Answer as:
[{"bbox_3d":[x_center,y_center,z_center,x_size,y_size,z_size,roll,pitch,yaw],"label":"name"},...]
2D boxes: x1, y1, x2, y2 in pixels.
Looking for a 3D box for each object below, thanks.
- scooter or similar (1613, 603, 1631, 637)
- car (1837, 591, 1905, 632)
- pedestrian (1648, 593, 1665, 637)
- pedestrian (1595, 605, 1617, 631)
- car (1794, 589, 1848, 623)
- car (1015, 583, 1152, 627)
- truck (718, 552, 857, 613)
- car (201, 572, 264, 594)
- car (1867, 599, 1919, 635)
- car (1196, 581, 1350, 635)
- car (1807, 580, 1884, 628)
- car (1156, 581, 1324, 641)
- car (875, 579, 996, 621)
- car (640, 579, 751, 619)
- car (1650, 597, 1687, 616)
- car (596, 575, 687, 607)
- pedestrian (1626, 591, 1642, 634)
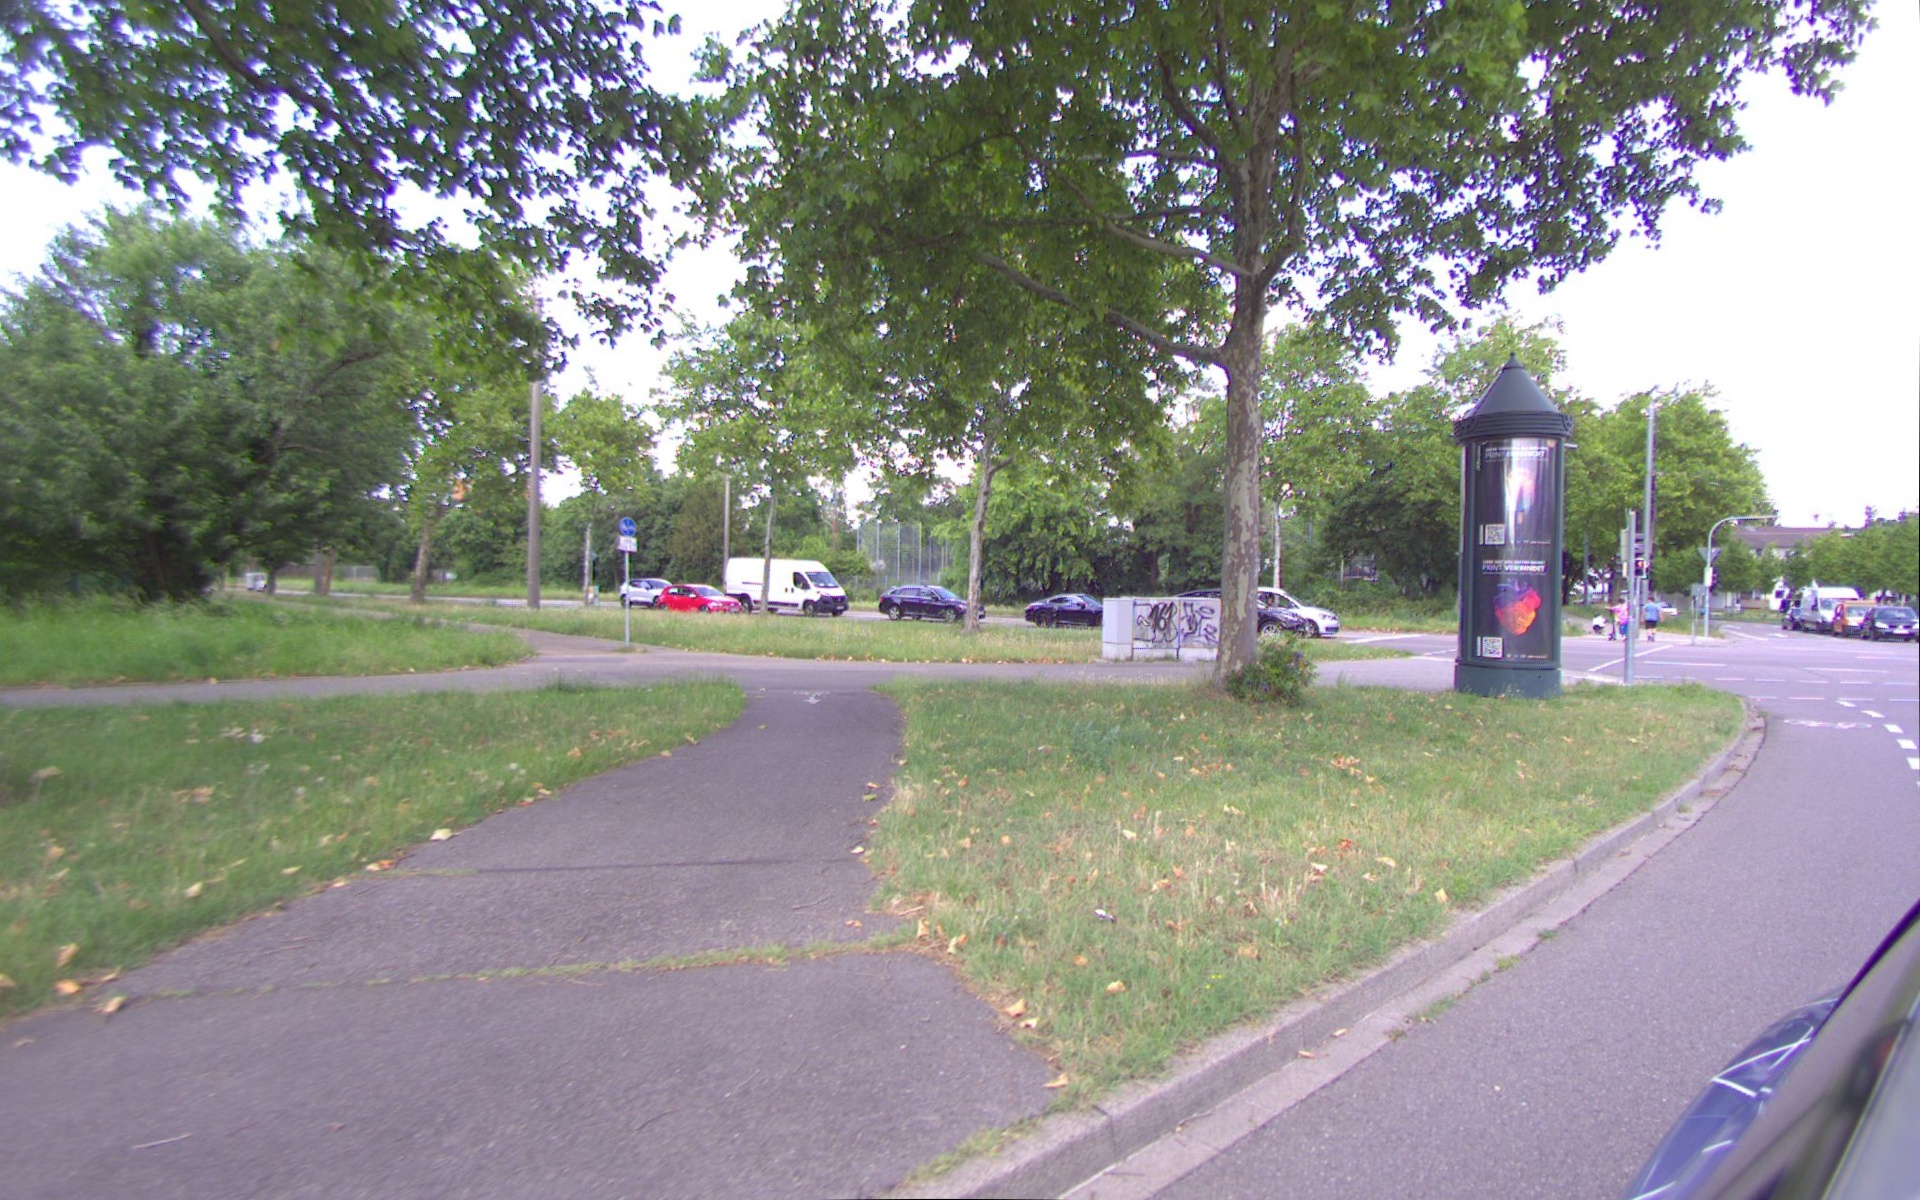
[{"bbox_3d":[23.605,0.691,36.083,0.391,1.175,1.106,1,1,27],"label":"scooter or similar"},{"bbox_3d":[45.548,0.523,50.675,1.783,1.959,4.319,1,1,32],"label":"car"},{"bbox_3d":[24.533,0.514,35.641,0.416,1.527,0.446,1,0,30],"label":"pedestrian"},{"bbox_3d":[27.259,0.739,42.722,0.717,1.047,0.891,1,1,32],"label":"pedestrian"},{"bbox_3d":[51.885,0.334,61.033,1.782,1.959,4.320,1,1,31],"label":"car"},{"bbox_3d":[4.565,0.139,37.621,4.712,1.487,1.978,2,2,32],"label":"car"},{"bbox_3d":[-7.918,-0.829,46.134,6.460,2.628,2.191,2,1,33],"label":"truck"},{"bbox_3d":[-52.560,-1.250,73.086,4.646,1.532,1.980,2,2,30],"label":"car"},{"bbox_3d":[42.408,0.737,45.523,1.783,1.558,3.953,1,1,33],"label":"car"},{"bbox_3d":[10.567,0.231,34.273,4.650,1.630,1.978,2,2,32],"label":"car"},{"bbox_3d":[49.006,0.188,56.145,2.222,2.538,5.663,1,1,31],"label":"car"},{"bbox_3d":[8.598,0.279,31.184,4.651,1.630,1.978,2,2,32],"label":"car"},{"bbox_3d":[-1.021,-0.040,41.516,4.650,1.532,1.978,2,2,32],"label":"car"},{"bbox_3d":[-11.366,-0.087,43.410,4.650,1.532,1.978,2,2,32],"label":"car"},{"bbox_3d":[64.410,0.577,92.086,1.847,1.665,4.203,1,1,22],"label":"car"},{"bbox_3d":[-16.512,-0.477,52.415,4.650,1.532,1.978,2,2,32],"label":"car"},{"bbox_3d":[23.978,0.437,36.025,0.416,1.527,0.389,1,0,30],"label":"pedestrian"}]
